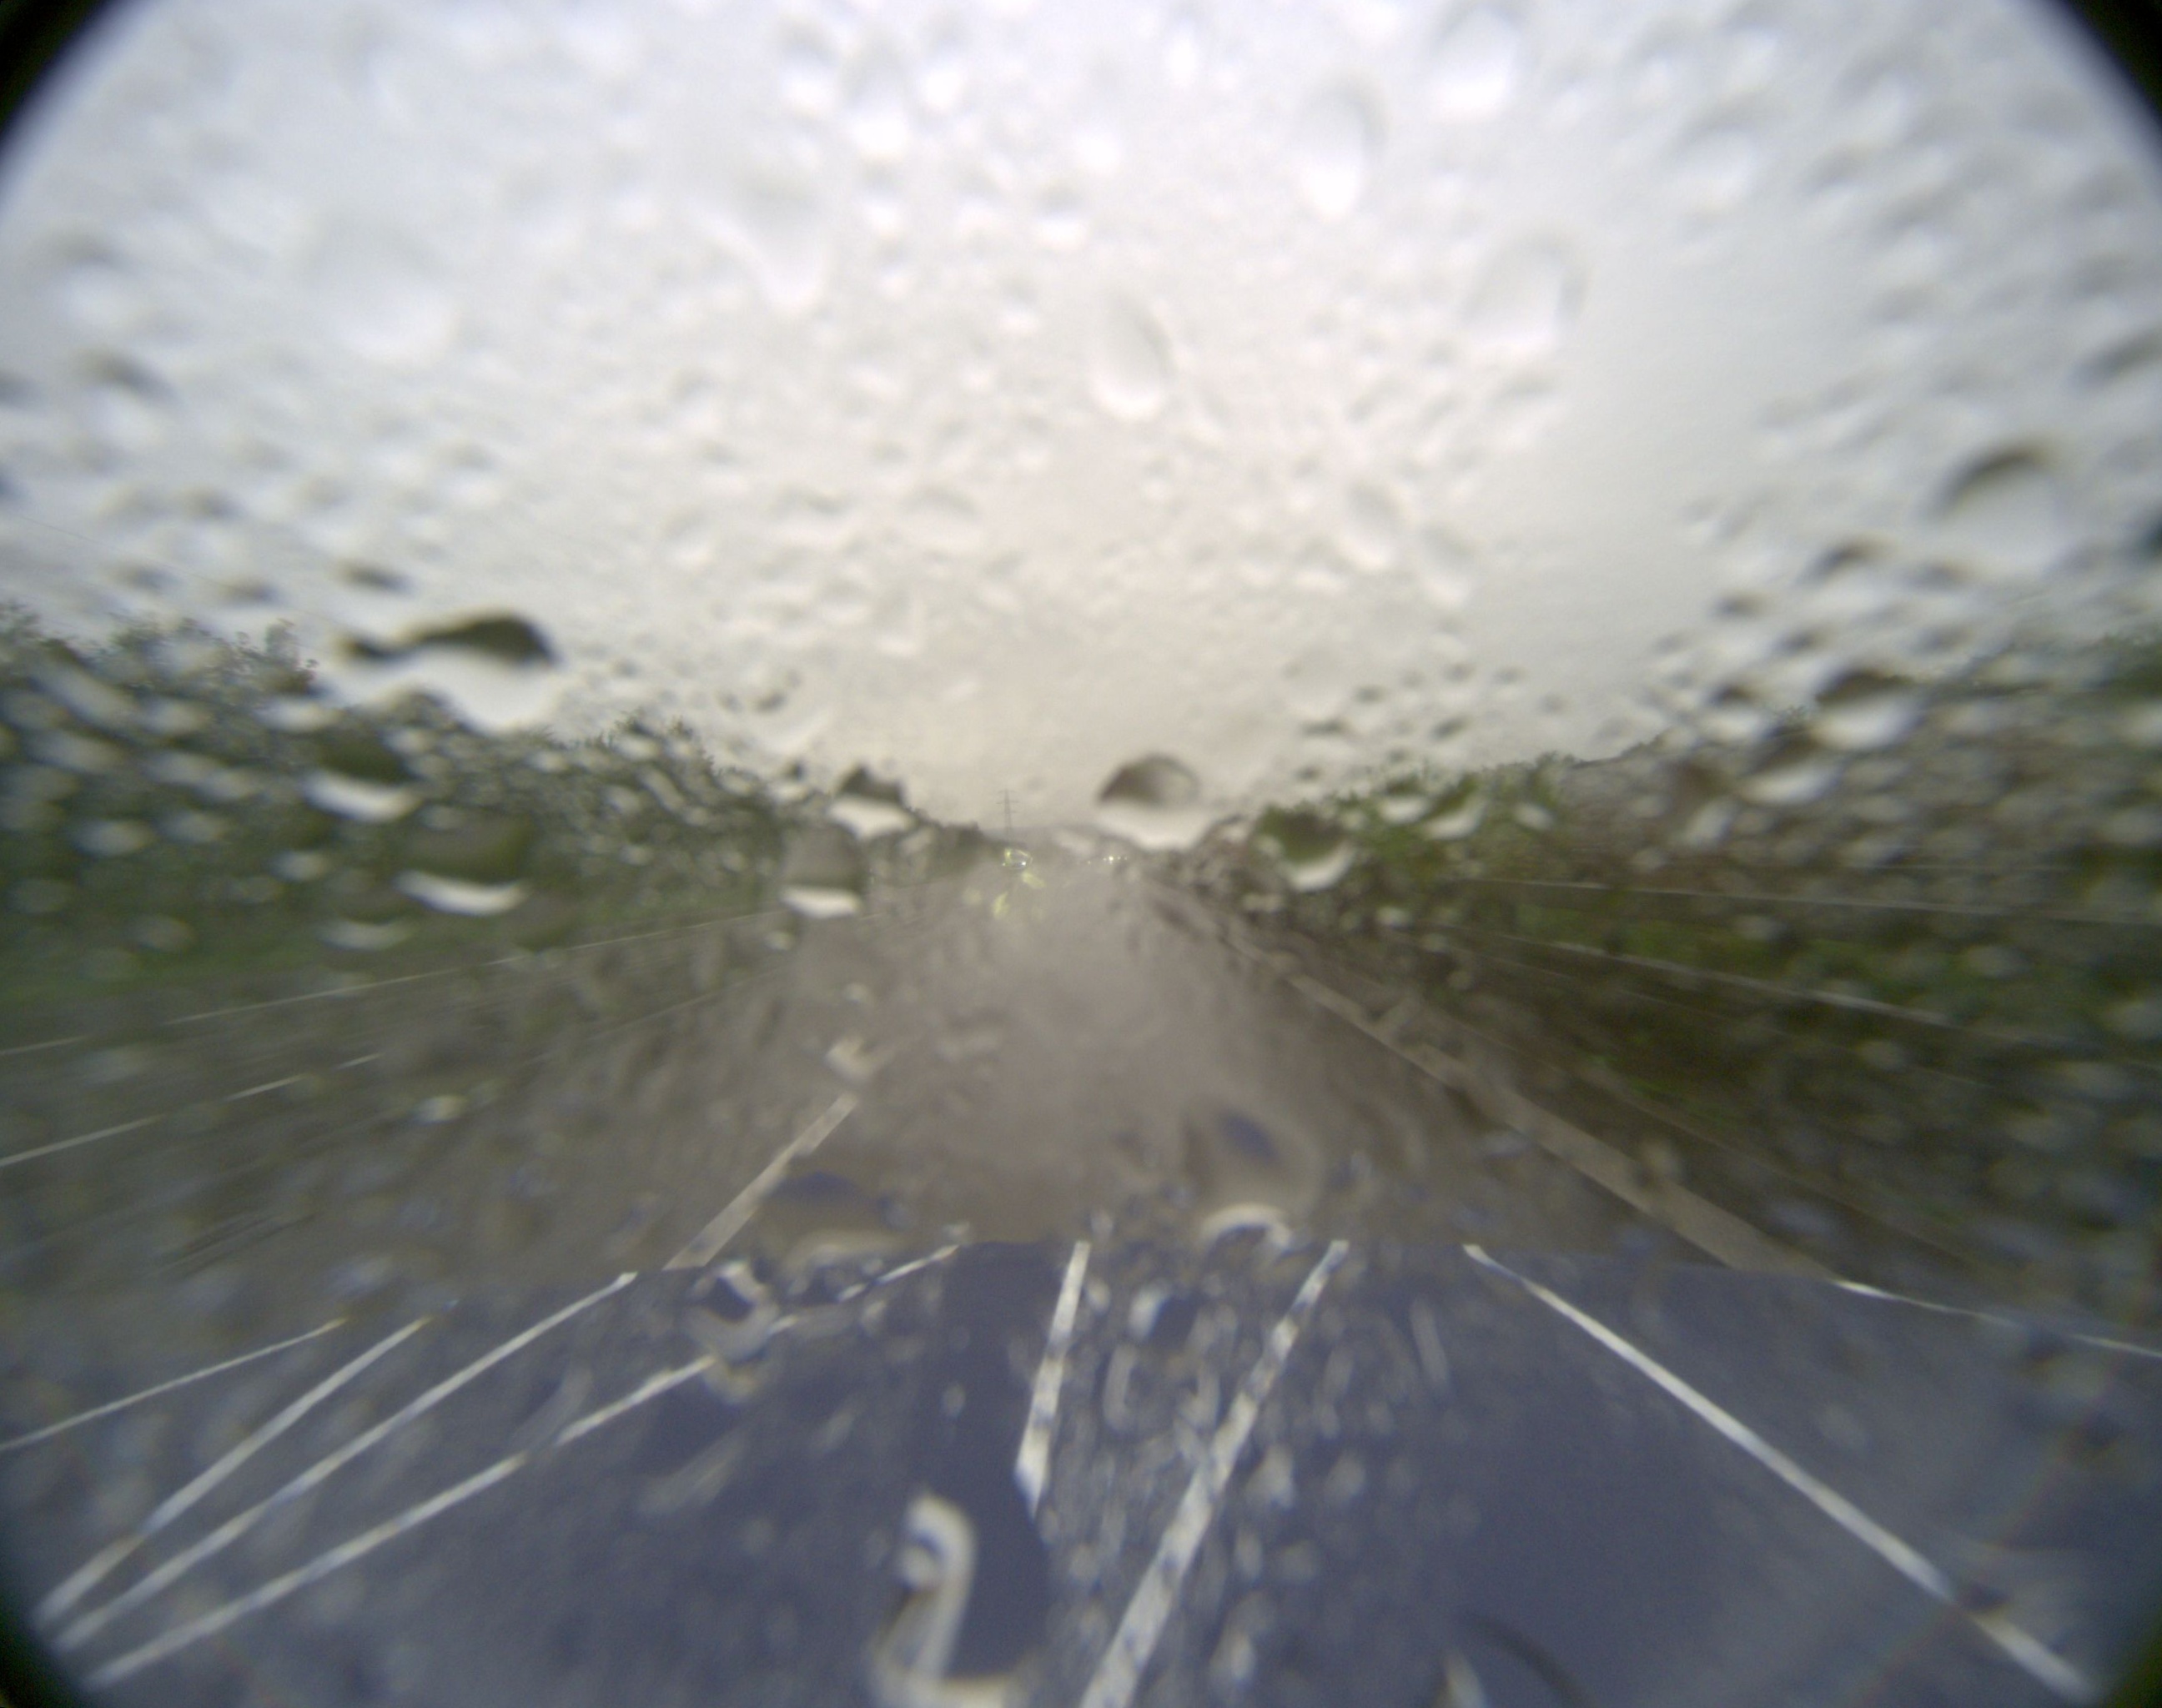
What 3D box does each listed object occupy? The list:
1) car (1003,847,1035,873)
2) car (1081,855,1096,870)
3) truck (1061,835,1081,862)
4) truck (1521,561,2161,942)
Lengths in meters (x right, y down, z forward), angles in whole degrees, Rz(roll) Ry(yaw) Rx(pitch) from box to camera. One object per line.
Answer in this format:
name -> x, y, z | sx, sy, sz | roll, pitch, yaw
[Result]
car -> -5.110, 0.509, 63.305 | 1.998, 2.002, 4.001 | -3, 0, 4
car -> 1.079, 1.161, 107.085 | 1.998, 2.002, 4.000 | -2, 0, 1
truck -> -1.769, -0.962, 138.539 | 3.136, 4.641, 11.404 | -2, 0, 1
truck -> 18.143, -1.716, 20.254 | 4.122, 6.090, 16.004 | -2, 0, 3
